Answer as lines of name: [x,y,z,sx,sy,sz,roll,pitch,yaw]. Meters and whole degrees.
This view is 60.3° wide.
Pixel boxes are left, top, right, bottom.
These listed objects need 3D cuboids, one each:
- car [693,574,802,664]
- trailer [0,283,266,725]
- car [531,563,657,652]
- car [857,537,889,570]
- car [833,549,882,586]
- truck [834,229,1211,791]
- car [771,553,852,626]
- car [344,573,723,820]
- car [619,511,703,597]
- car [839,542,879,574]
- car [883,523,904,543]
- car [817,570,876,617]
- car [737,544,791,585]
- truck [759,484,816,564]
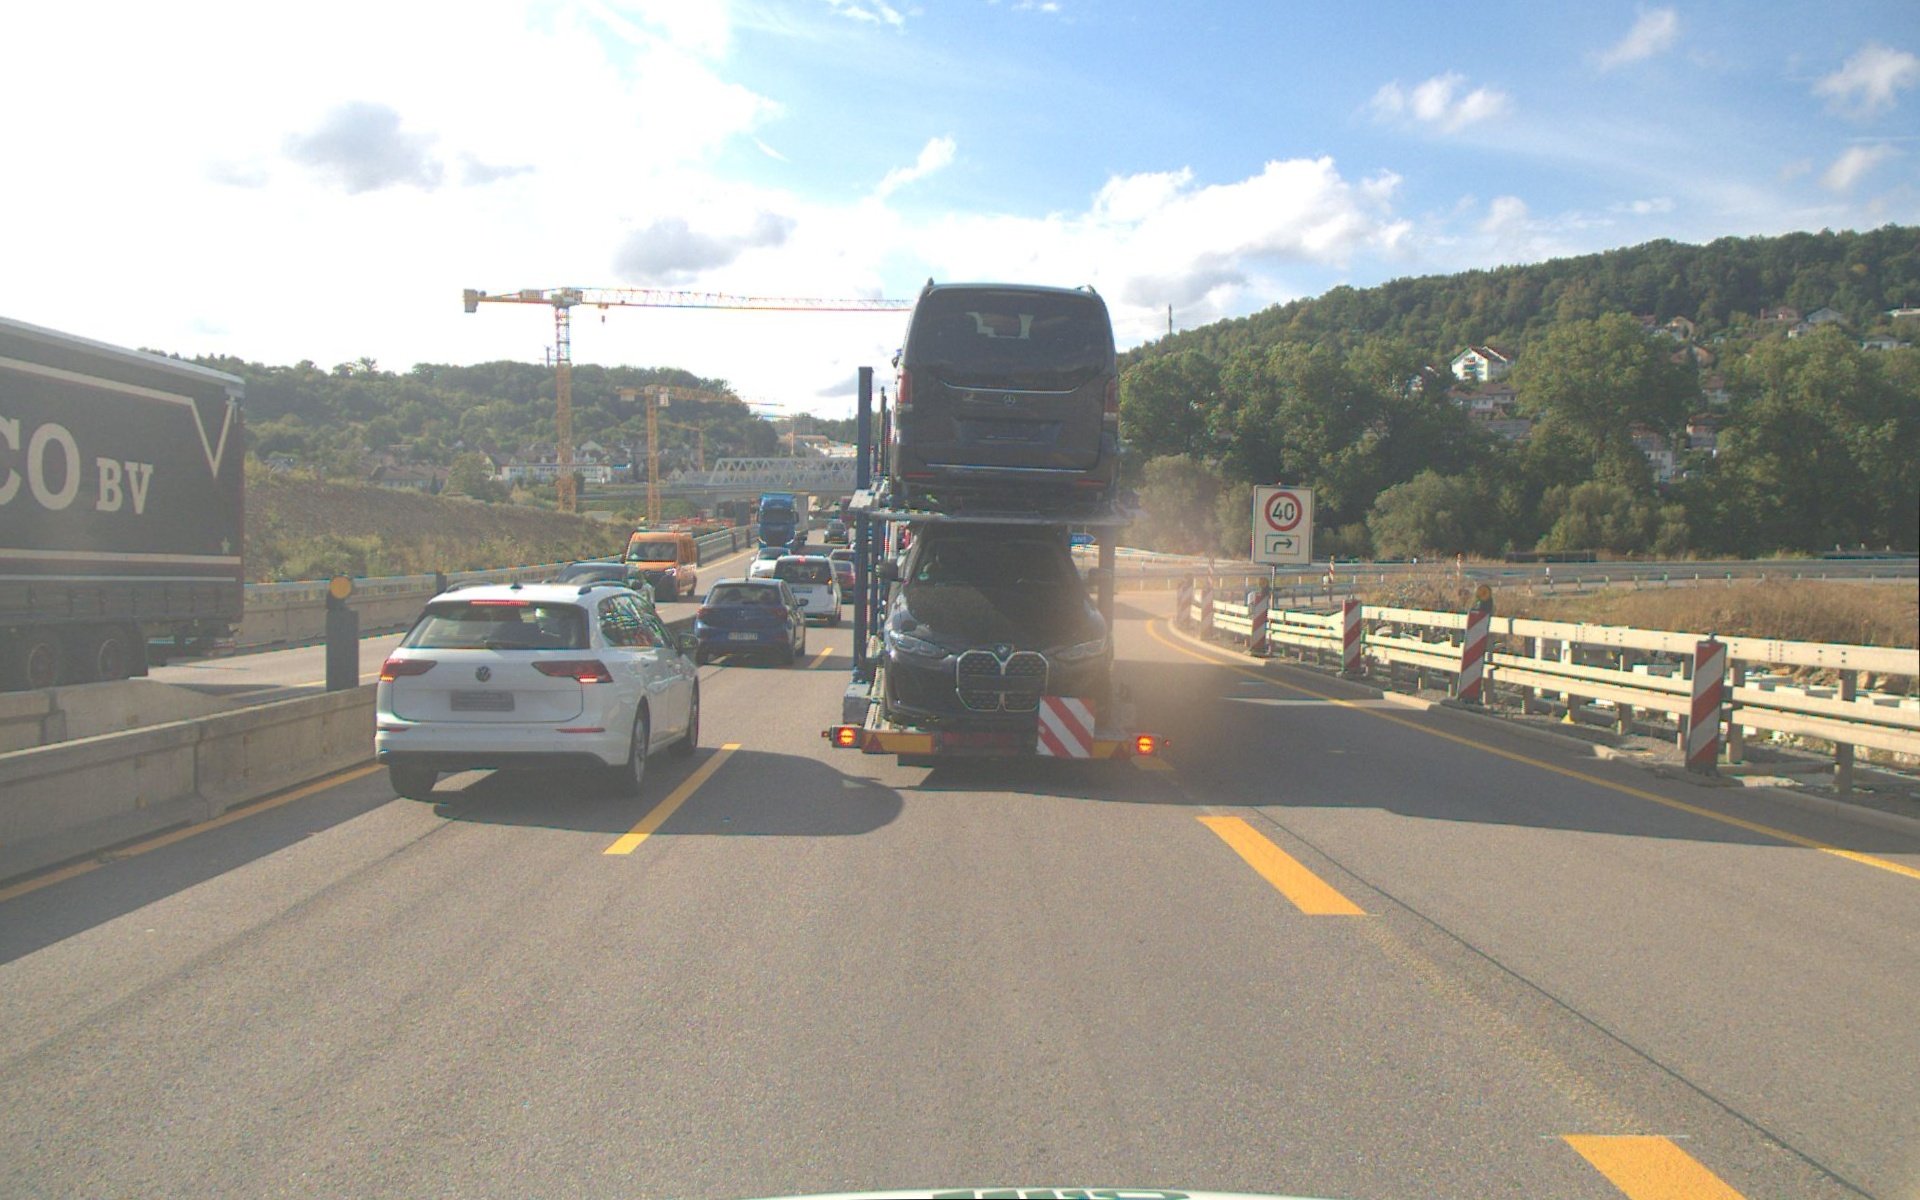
car: [-3.673,0.289,29.162,1.688,1.446,3.996,1,1,-5]
trailer: [-11.329,-1.012,15.602,2.914,4.499,13.822,2,1,3]
car: [-7.424,0.144,33.941,1.807,1.677,4.234,1,0,-3]
car: [-5.920,-3.160,113.285,1.953,2.049,3.999,1,-1,-1]
car: [-4.572,-1.473,74.372,1.953,1.579,4.000,1,1,0]
truck: [0.205,-0.726,21.339,2.697,4.023,18.884,0,1,-2]
car: [-3.959,-0.234,44.675,1.785,1.824,3.999,1,-1,0]
car: [-2.993,0.591,12.623,1.734,1.517,4.516,1,0,-1]
car: [-10.854,-1.629,60.419,1.953,2.930,6.064,1,0,0]
car: [-5.641,-2.331,92.794,1.953,1.695,4.000,1,0,0]
car: [-6.162,-6.154,152.025,1.808,1.677,4.502,1,0,-3]
car: [-4.085,-0.206,60.069,1.953,1.584,4.399,1,-1,-2]
car: [-8.847,-1.567,75.045,1.953,1.713,3.999,1,0,0]
truck: [-12.410,-5.331,119.777,2.764,4.872,13.051,1,-1,0]
